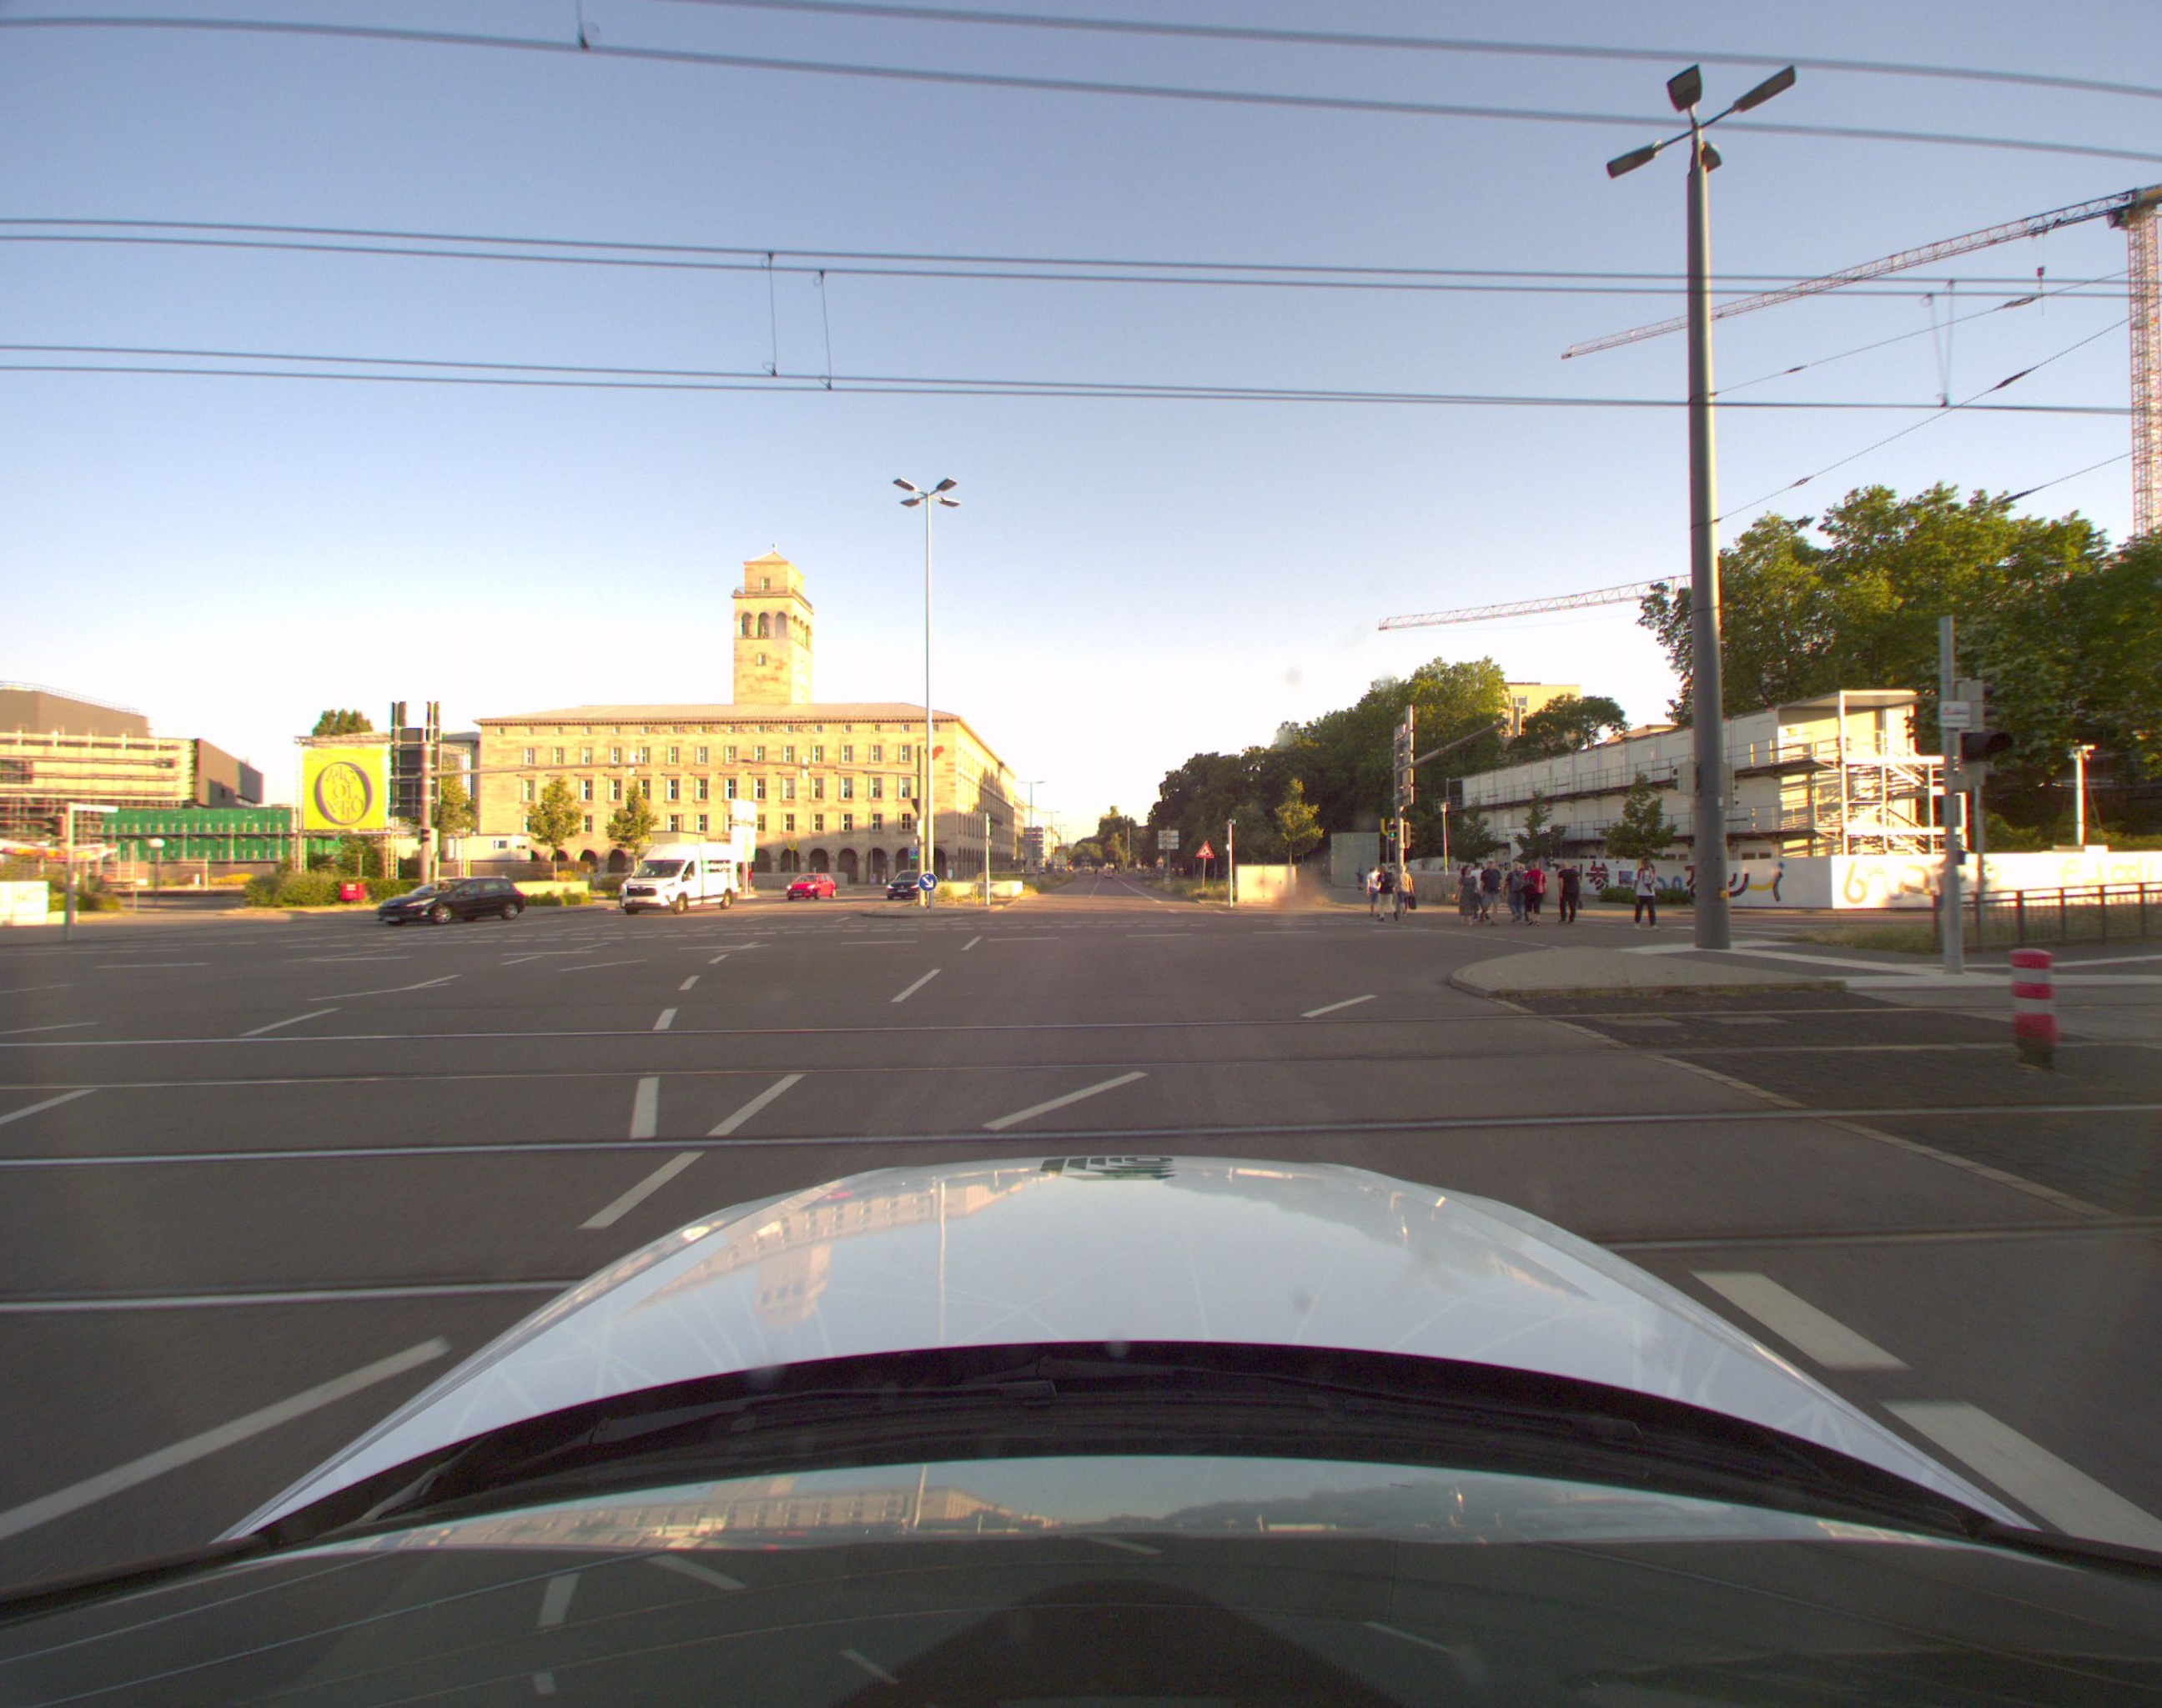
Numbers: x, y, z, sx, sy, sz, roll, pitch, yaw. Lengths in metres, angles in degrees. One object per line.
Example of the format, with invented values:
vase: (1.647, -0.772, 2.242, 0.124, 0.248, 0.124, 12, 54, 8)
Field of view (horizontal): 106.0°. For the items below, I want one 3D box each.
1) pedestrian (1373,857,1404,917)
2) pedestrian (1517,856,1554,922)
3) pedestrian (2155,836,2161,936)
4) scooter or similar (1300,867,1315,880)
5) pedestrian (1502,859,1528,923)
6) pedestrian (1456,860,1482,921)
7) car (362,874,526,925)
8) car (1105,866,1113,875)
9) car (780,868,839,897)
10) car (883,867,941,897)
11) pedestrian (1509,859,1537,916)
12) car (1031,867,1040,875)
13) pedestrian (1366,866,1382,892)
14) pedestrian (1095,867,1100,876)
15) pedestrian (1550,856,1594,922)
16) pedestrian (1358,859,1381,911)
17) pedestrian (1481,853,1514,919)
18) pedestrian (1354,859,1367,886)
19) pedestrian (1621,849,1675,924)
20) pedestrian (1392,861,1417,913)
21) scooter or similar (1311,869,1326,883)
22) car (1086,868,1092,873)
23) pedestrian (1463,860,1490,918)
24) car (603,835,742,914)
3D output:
pedestrian: (9.063, 0.948, 24.022, 0.706, 1.725, 0.918, 0, -1, 11)
pedestrian: (12.256, 0.928, 21.974, 0.697, 1.734, 0.851, -1, -1, 17)
pedestrian: (17.459, 0.499, 12.740, 0.569, 1.592, 0.536, -1, -1, 0)
scooter or similar: (20.812, 1.798, 74.923, 0.567, 1.203, 2.983, 0, -1, 0)
pedestrian: (12.380, 1.036, 23.236, 0.567, 1.791, 0.642, -1, -1, 20)
pedestrian: (10.703, 0.987, 22.474, 0.555, 1.655, 0.907, -1, 0, 21)
car: (-20.974, 1.445, 27.058, 1.812, 1.466, 4.167, -1, 0, 8)
car: (5.052, 2.991, 147.764, 1.477, 1.696, 2.975, -1, -1, 2)
car: (-15.363, 1.587, 46.254, 1.730, 1.487, 4.005, -1, 0, 4)
car: (-8.310, 1.349, 40.401, 1.815, 1.342, 4.003, -1, 0, 3)
pedestrian: (13.230, 1.000, 24.391, 0.568, 1.679, 0.641, -1, -1, 14)
car: (-9.510, 3.508, 169.950, 1.551, 1.590, 3.998, 0, 0, -1)
pedestrian: (16.947, 1.453, 47.160, 0.664, 1.449, 0.713, -1, 0, 1)
pedestrian: (3.249, 3.482, 162.135, 0.904, 1.671, 1.306, 0, 0, 0)
pedestrian: (13.662, 0.961, 22.682, 0.801, 1.791, 0.802, 0, -1, 7)
pedestrian: (9.734, 1.046, 27.528, 0.705, 1.725, 0.671, -1, -1, 18)
pedestrian: (11.360, 0.866, 22.234, 0.674, 1.757, 0.907, -1, 0, 21)
pedestrian: (18.830, 1.244, 54.954, 0.663, 1.842, 0.714, -1, 0, 6)
pedestrian: (13.847, 0.782, 19.896, 0.800, 1.791, 0.802, 0, -1, 8)
pedestrian: (10.822, 1.098, 27.237, 0.705, 1.725, 0.671, -1, -1, 18)
scooter or similar: (21.857, 1.994, 74.962, 0.567, 1.203, 2.983, 0, -1, 0)
car: (1.944, 4.057, 202.913, 1.364, 1.234, 3.047, -1, 0, 2)
pedestrian: (11.932, 1.033, 24.576, 0.704, 1.725, 0.920, -1, -1, 24)
car: (-15.667, 0.754, 31.767, 2.271, 2.776, 6.084, -1, -1, 1)
